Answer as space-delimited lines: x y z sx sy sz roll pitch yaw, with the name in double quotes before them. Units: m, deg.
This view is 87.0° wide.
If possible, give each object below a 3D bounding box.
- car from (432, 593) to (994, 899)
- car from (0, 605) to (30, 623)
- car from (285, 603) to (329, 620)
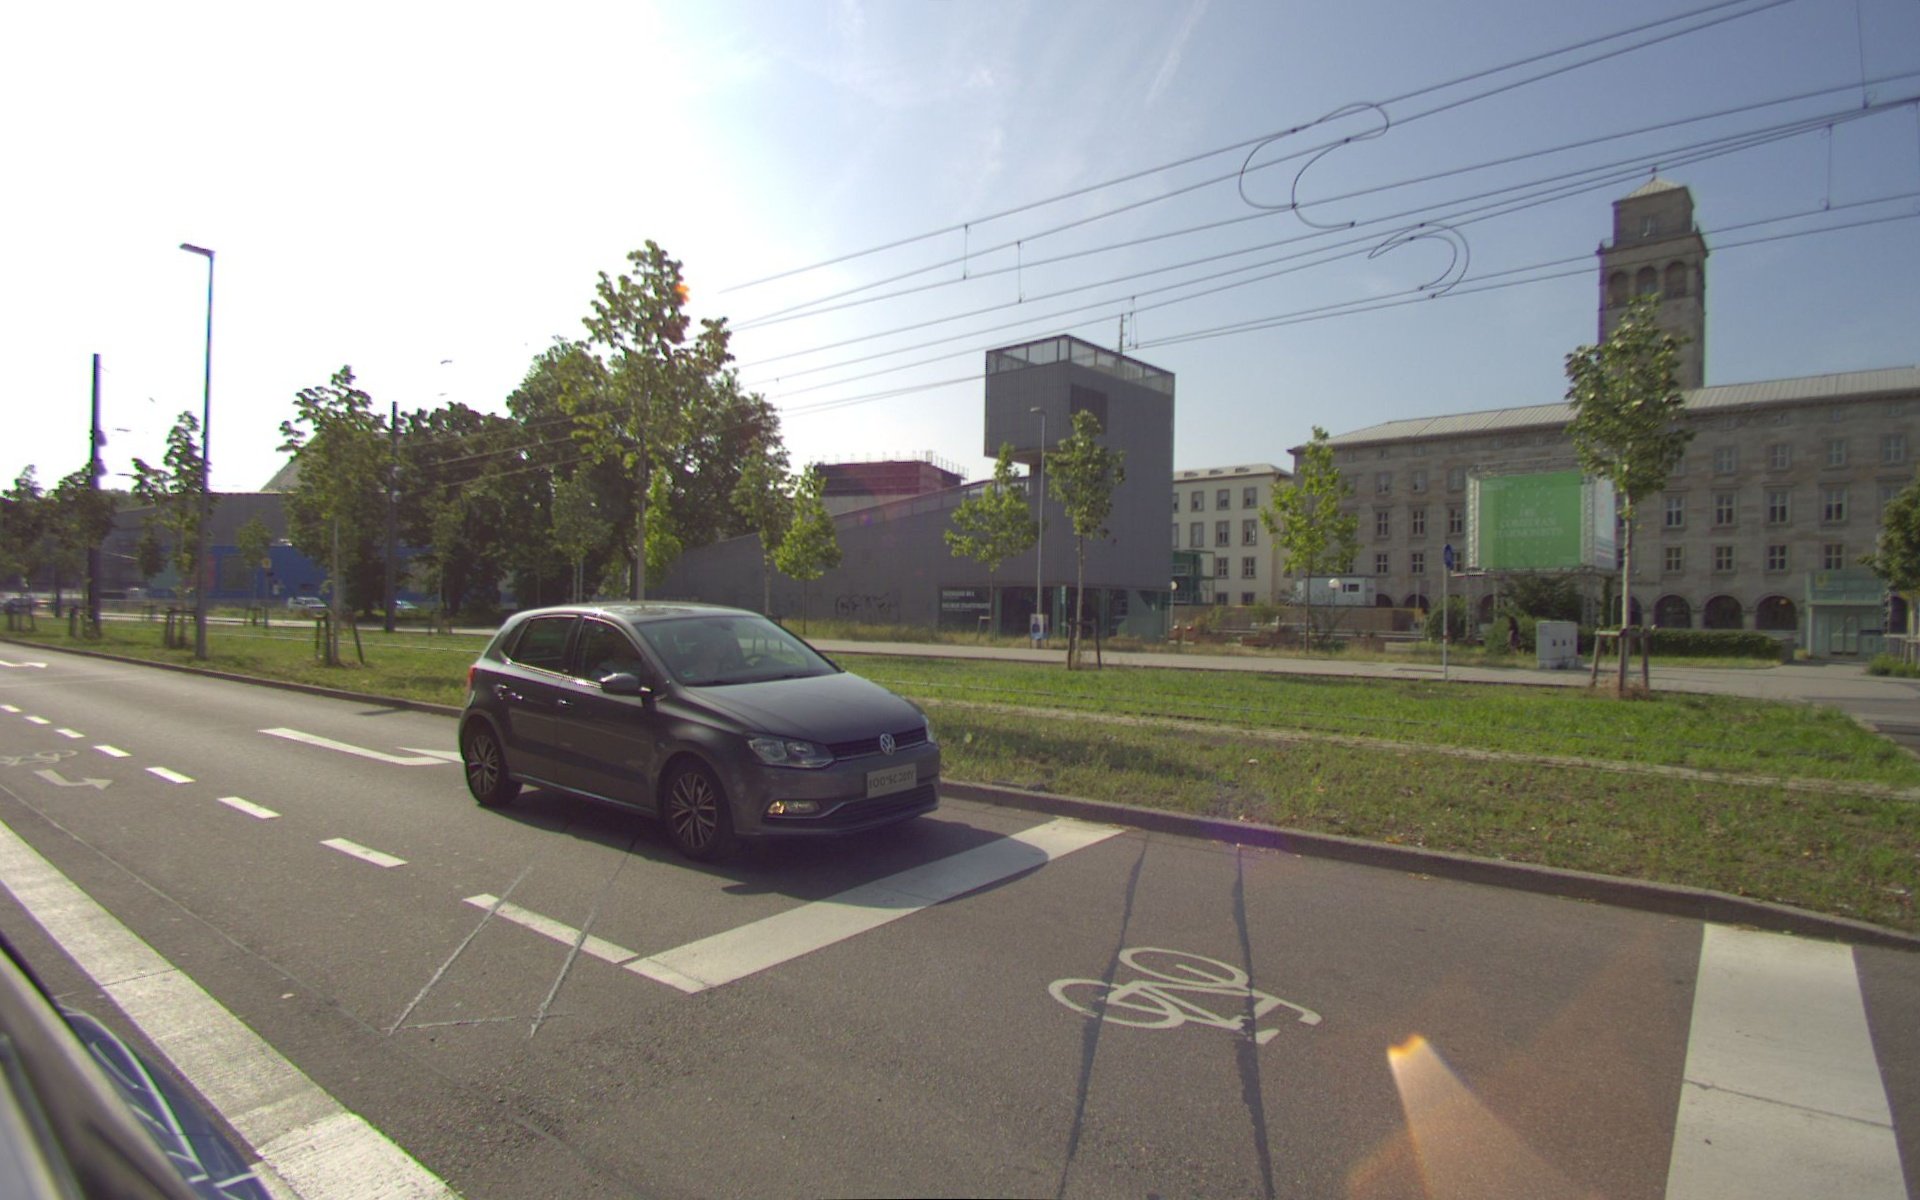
"car" -1.816 0.713 6.776 3.866 1.443 1.687 0 1 40
"car" -87.974 1.326 94.103 3.768 1.630 1.735 0 -1 39
"car" -68.755 1.223 106.487 4.806 1.781 1.998 0 -1 31
